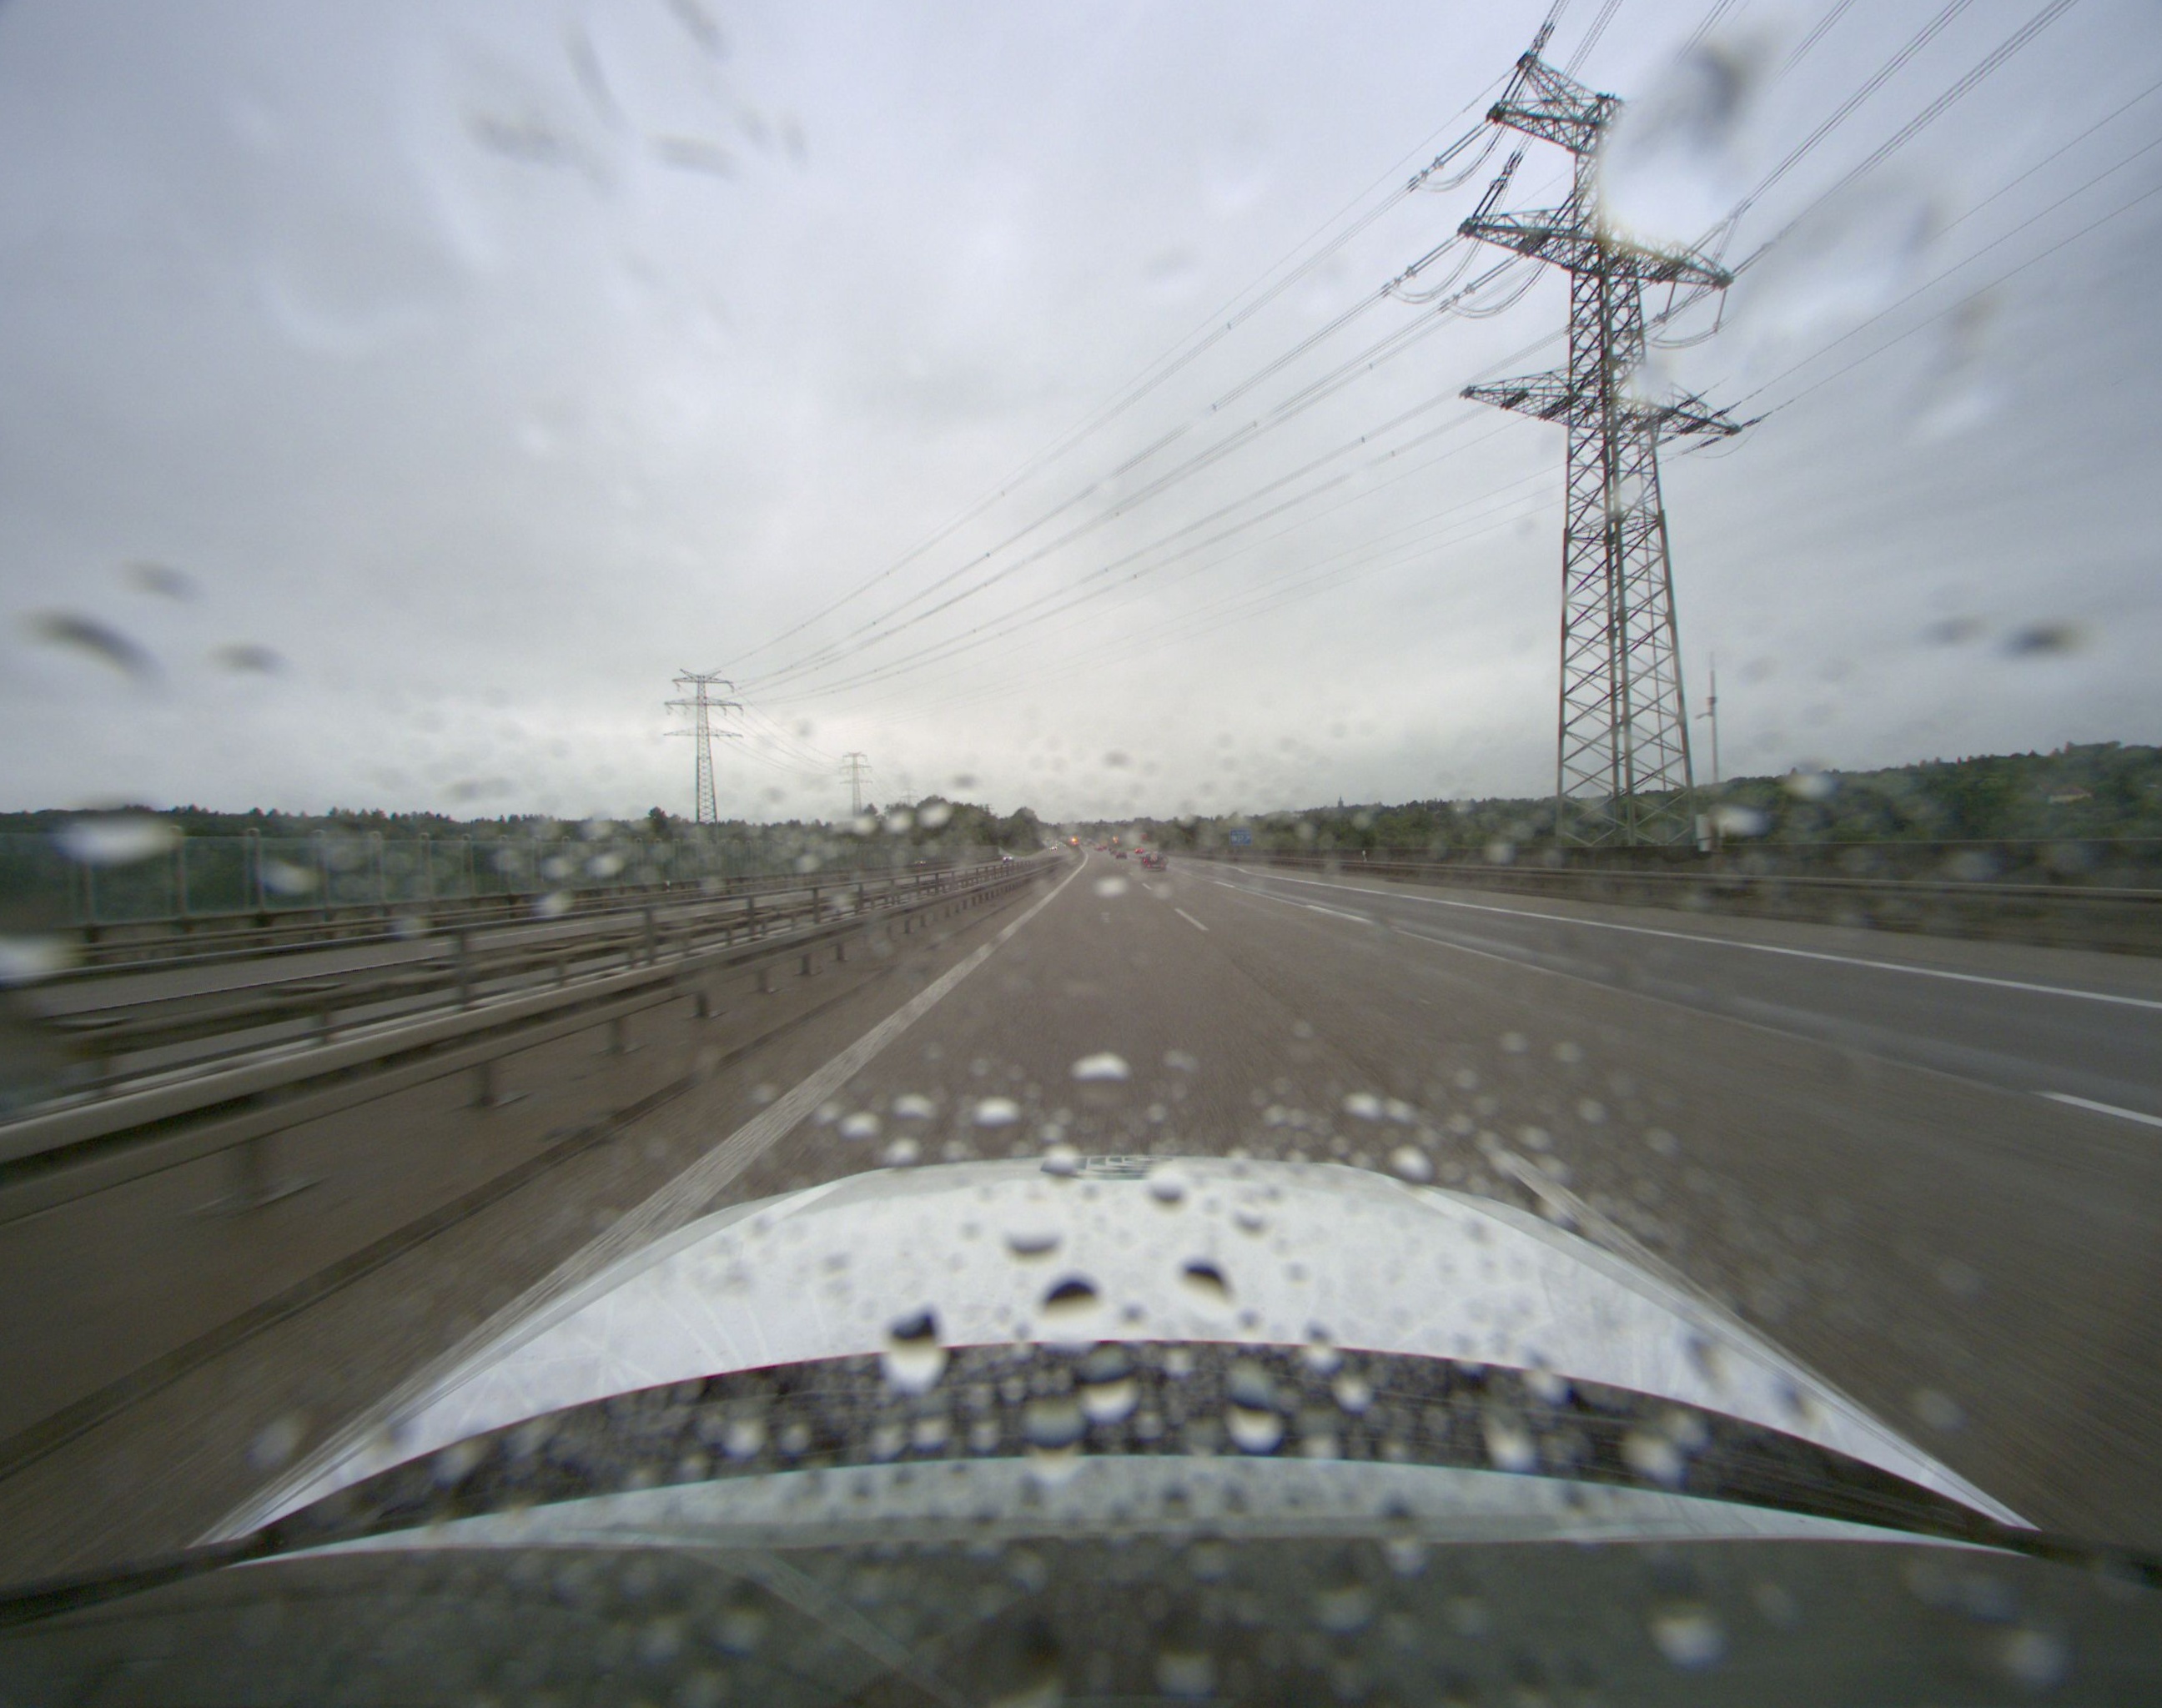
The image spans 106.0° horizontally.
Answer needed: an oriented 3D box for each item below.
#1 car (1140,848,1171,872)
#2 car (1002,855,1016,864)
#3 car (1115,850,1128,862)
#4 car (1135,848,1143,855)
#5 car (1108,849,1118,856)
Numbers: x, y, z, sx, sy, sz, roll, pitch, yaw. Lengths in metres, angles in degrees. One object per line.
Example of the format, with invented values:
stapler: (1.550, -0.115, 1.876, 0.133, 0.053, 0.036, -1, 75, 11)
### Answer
car: (5.660, 0.441, 62.330, 2.050, 1.671, 5.524, -1, 0, 2)
car: (-13.581, 0.990, 154.199, 1.986, 1.629, 4.714, -2, 0, 1)
car: (6.908, 0.309, 139.394, 1.988, 1.760, 3.998, -3, 1, -2)
car: (14.734, -0.585, 207.079, 1.913, 1.709, 4.006, -3, 1, 5)
car: (7.753, -0.381, 196.792, 1.988, 1.628, 3.998, -3, 1, -2)
